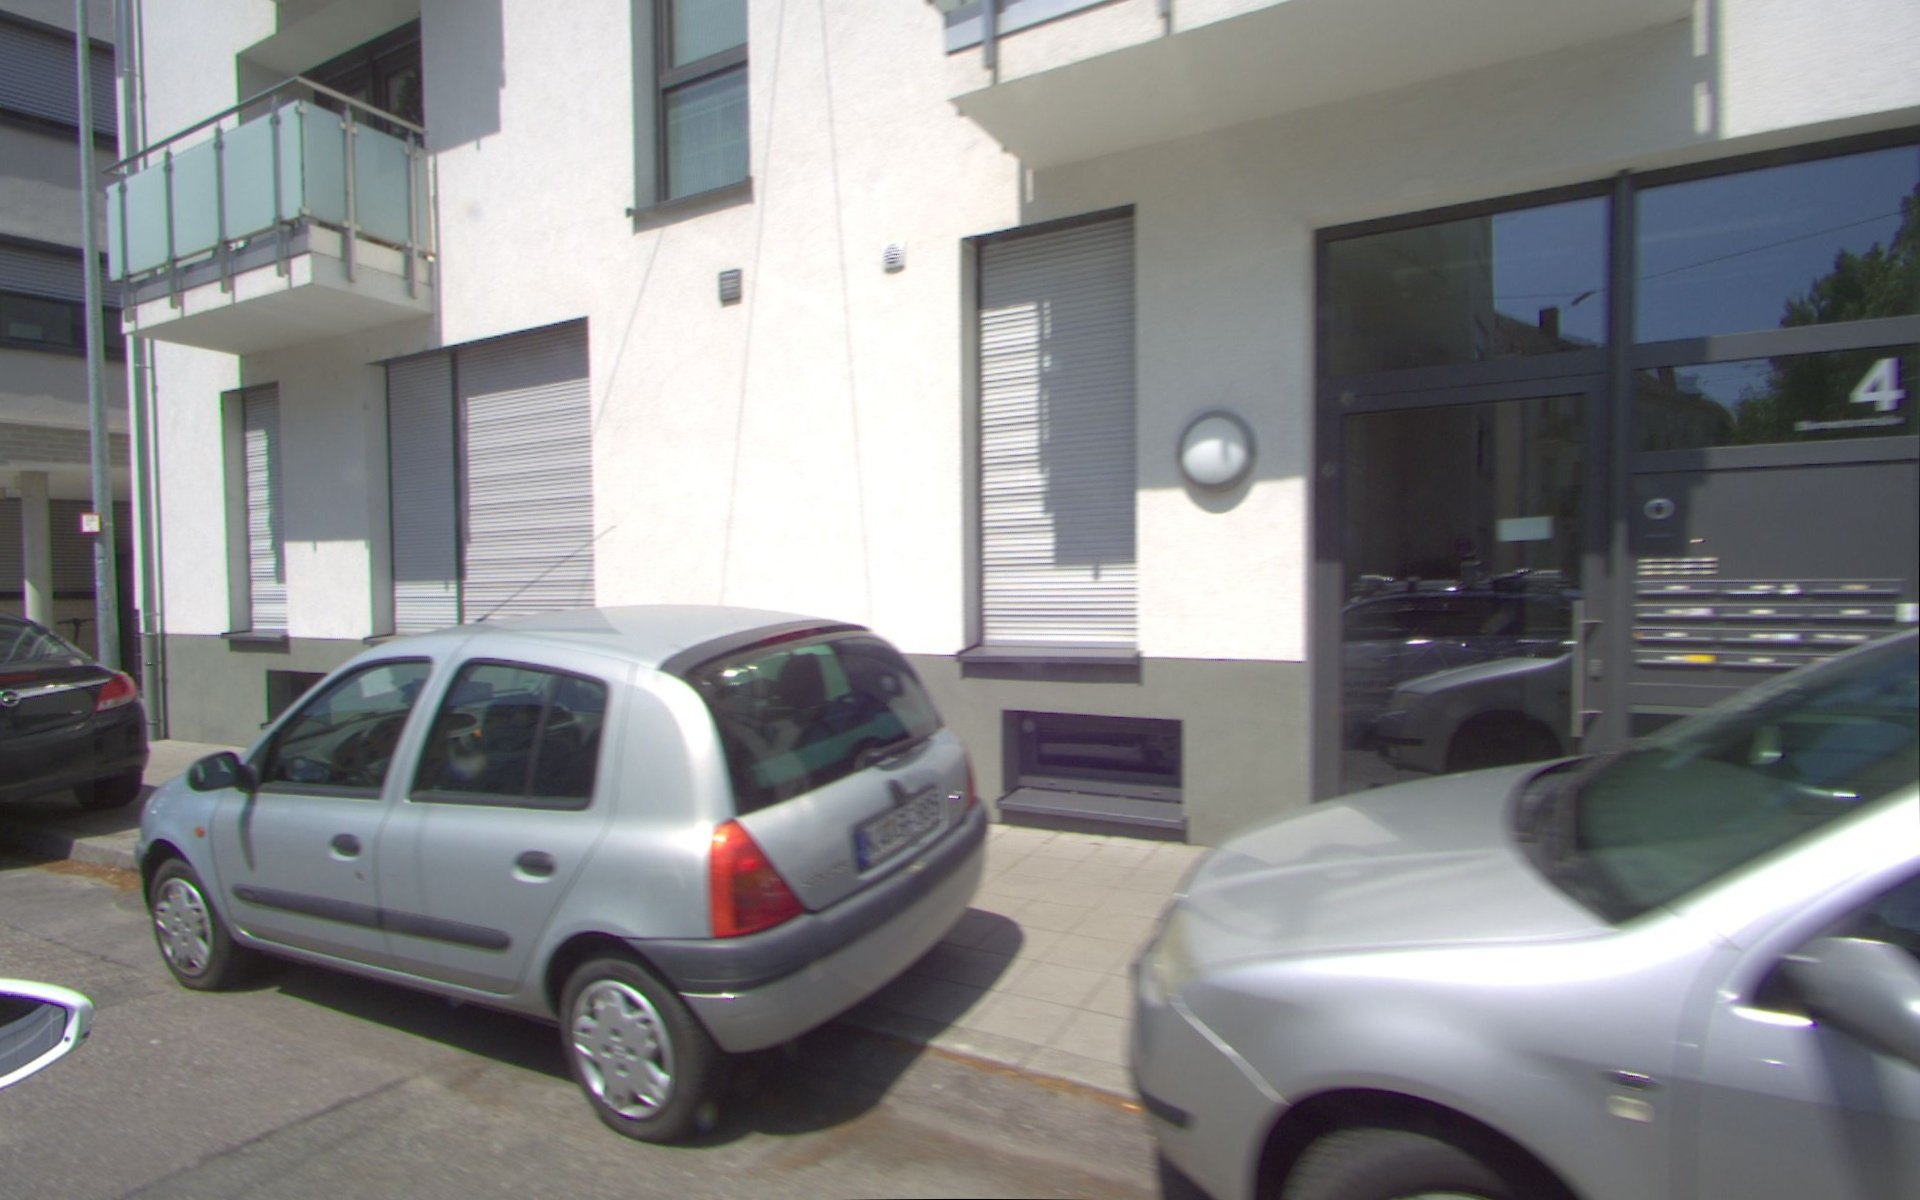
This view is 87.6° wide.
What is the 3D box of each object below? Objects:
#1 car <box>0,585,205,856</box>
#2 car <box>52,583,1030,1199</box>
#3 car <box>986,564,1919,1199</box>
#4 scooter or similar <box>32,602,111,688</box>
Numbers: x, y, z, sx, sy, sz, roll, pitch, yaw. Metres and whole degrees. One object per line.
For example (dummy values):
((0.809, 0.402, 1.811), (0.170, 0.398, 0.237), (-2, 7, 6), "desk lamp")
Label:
((-7.572, 0.754, 6.999), (4.476, 1.531, 1.797), (-1, 4, 27), "car")
((-1.731, 0.738, 3.986), (3.650, 1.453, 1.589), (-1, 4, 29), "car")
((2.213, 0.694, 1.831), (3.985, 1.453, 1.721), (0, 4, 33), "car")
((-13.244, 0.654, 14.925), (1.294, 1.228, 0.421), (0, 2, 27), "scooter or similar")
